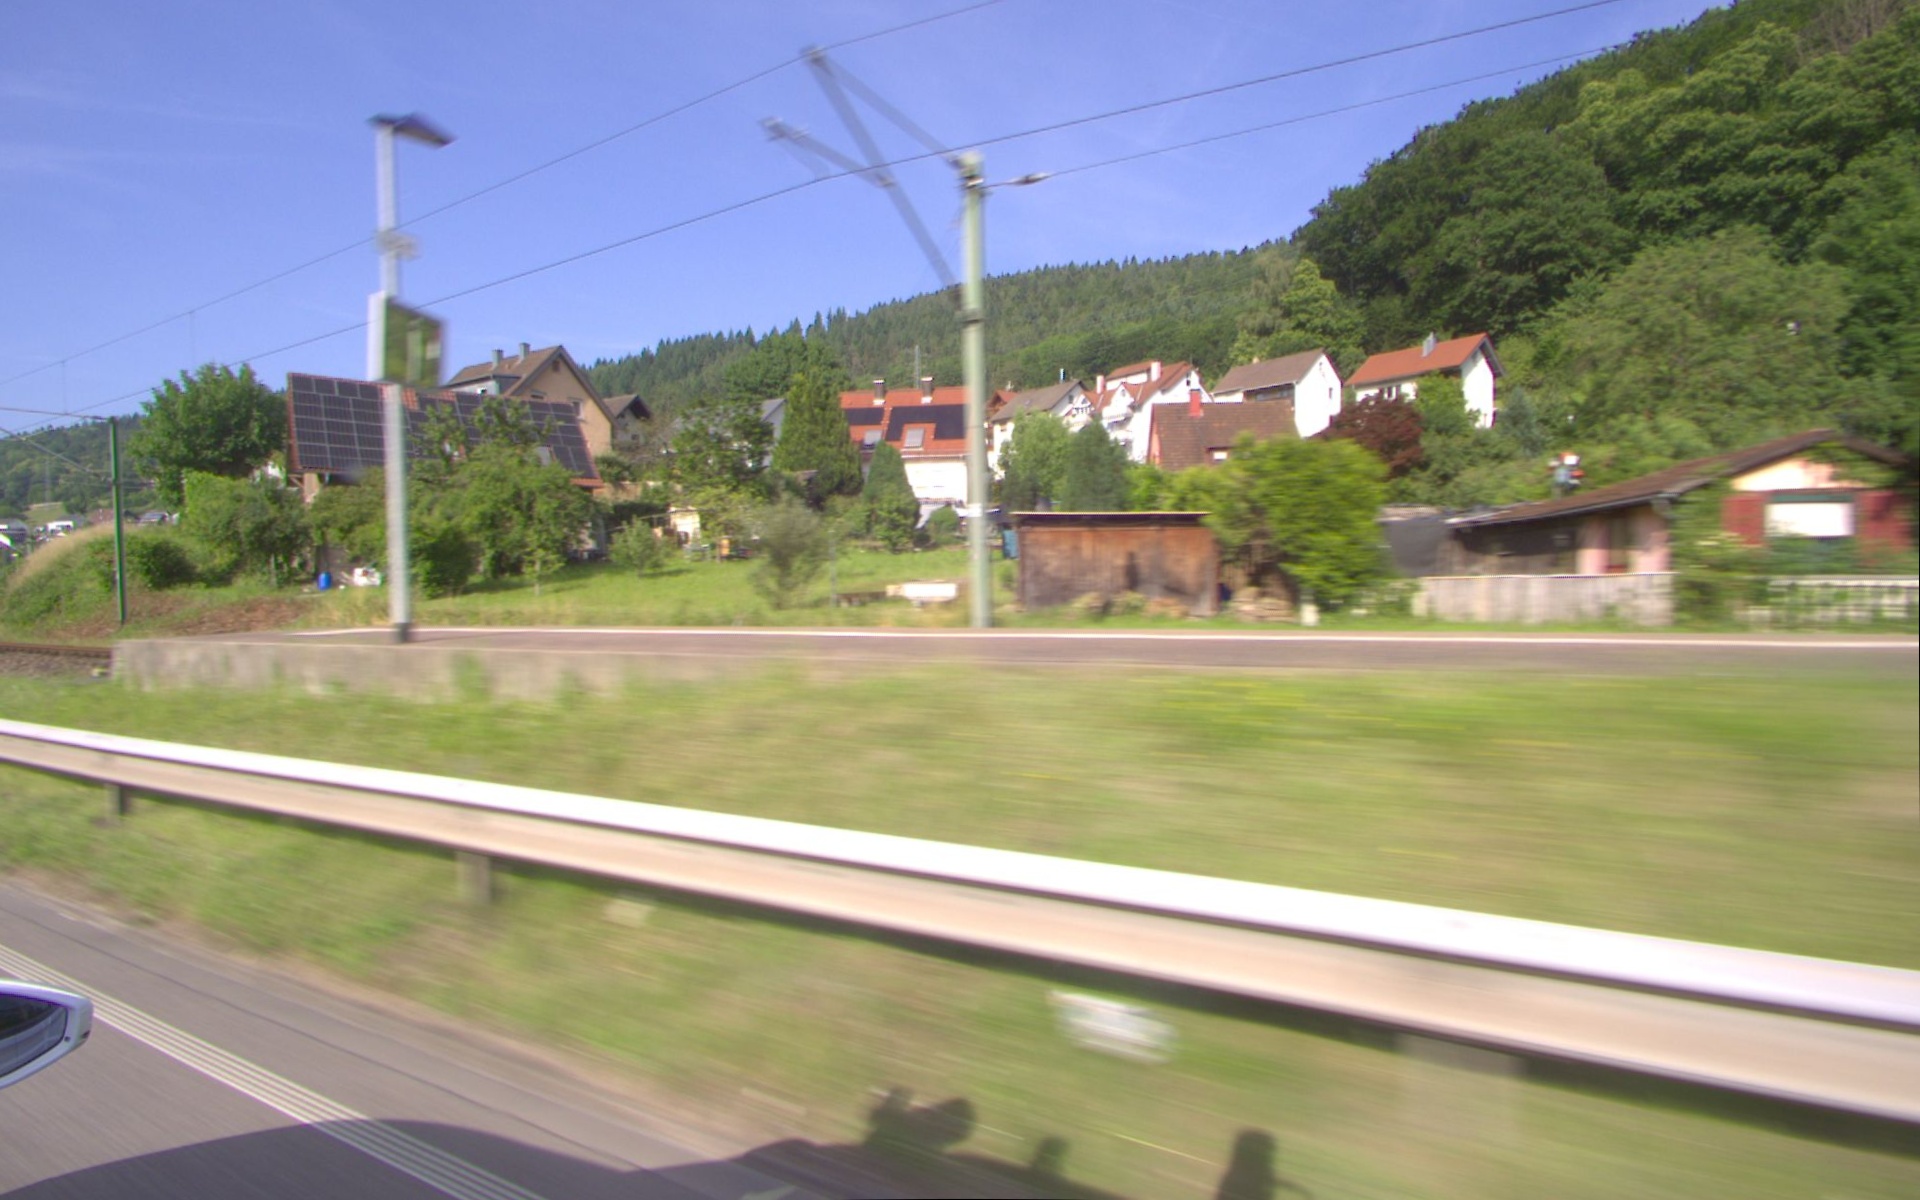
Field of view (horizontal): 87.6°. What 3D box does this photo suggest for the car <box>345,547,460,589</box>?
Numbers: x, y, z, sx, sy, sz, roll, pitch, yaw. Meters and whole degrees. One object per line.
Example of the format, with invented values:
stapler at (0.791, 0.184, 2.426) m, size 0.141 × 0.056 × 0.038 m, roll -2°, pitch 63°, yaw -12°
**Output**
car at (-24.170, -1.394, 43.477) m, size 3.958 × 1.707 × 1.981 m, roll -3°, pitch 2°, yaw -43°
